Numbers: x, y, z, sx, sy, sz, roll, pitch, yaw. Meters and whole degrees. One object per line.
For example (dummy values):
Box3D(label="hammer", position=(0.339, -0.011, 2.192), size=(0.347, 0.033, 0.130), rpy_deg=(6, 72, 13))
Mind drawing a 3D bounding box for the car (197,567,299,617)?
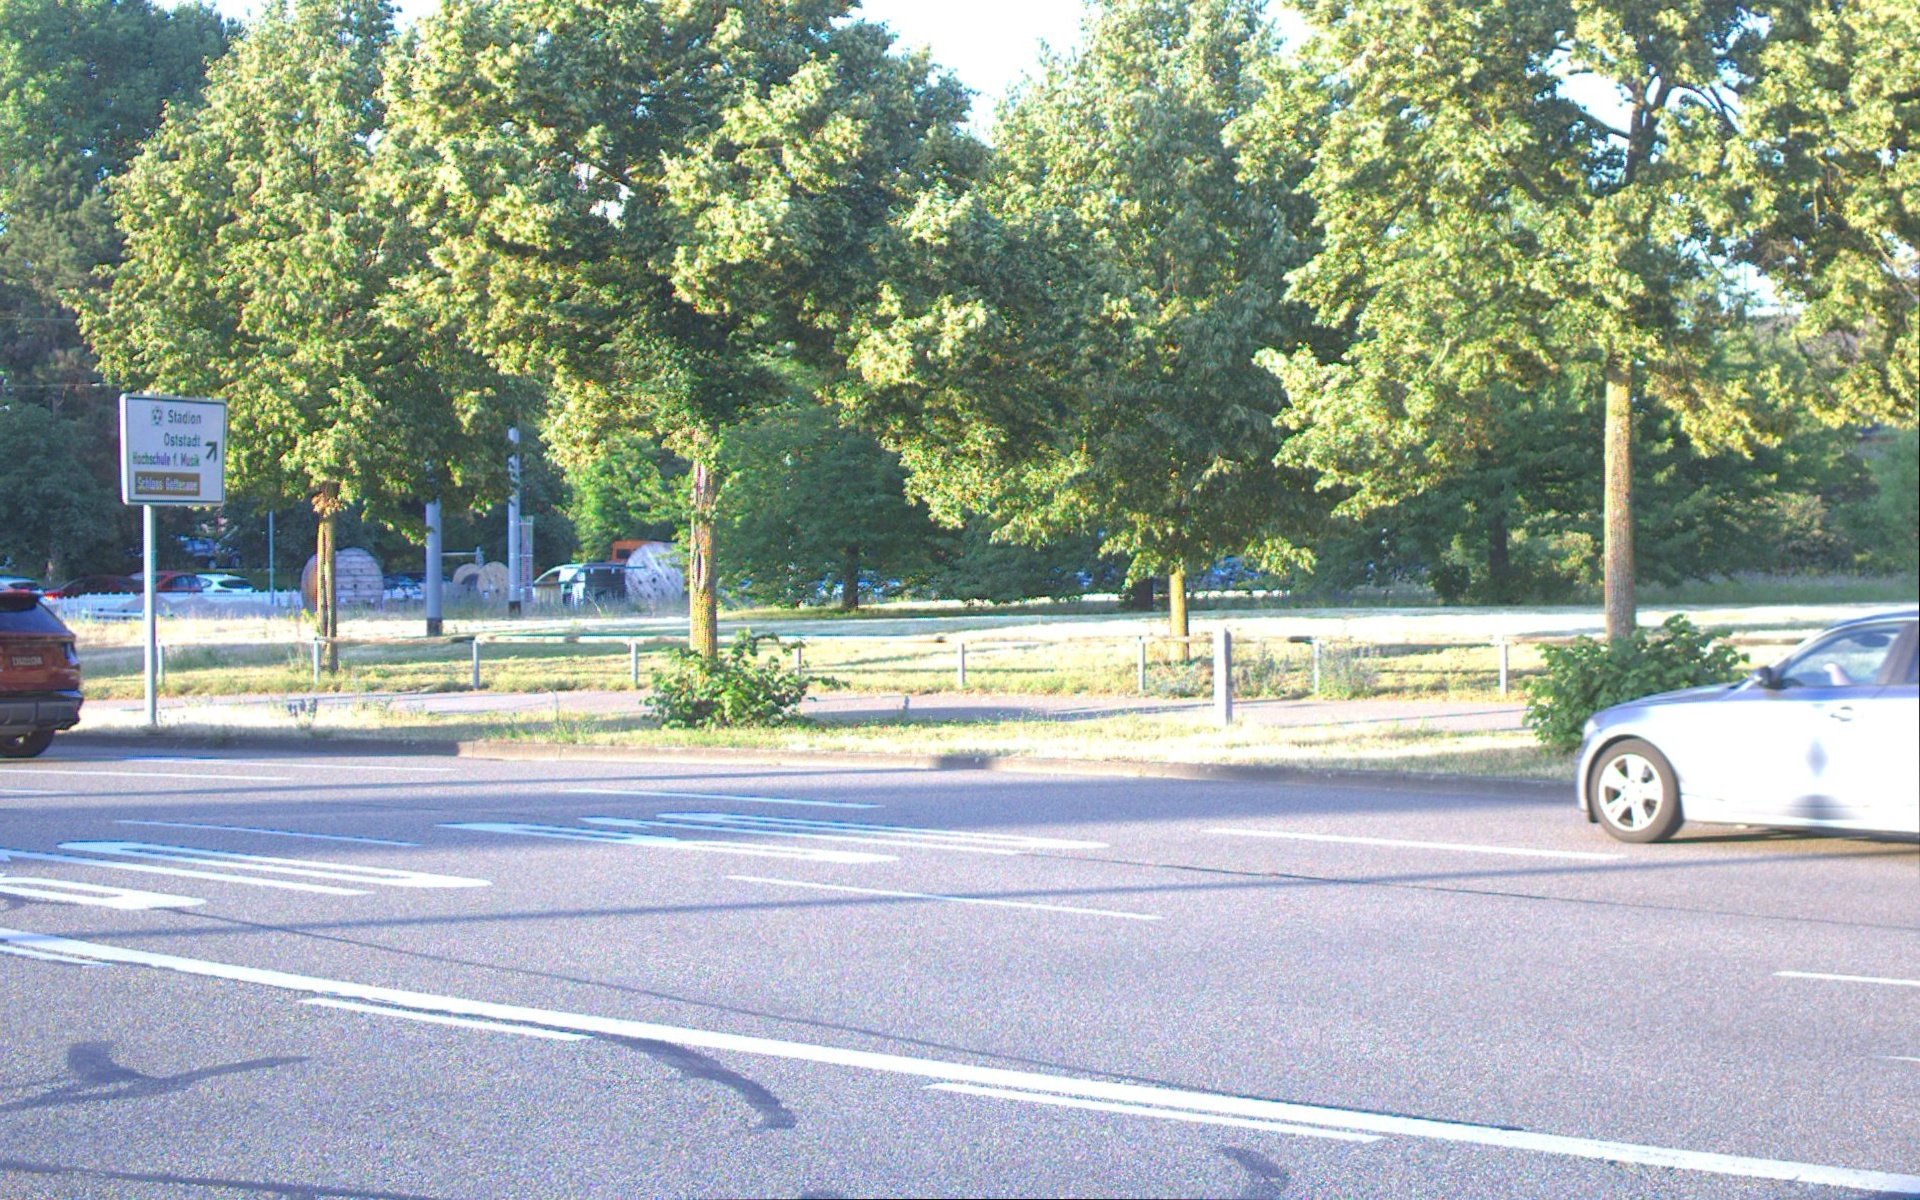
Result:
Box3D(label="car", position=(-26.809, -0.306, 129.304), size=(1.994, 1.746, 4.597), rpy_deg=(-1, 2, -37))

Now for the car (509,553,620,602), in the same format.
Box3D(label="car", position=(-13.220, -0.763, 114.882), size=(1.734, 1.612, 3.998), rpy_deg=(-1, 1, -41))

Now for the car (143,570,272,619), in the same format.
Box3D(label="car", position=(-25.362, -0.192, 115.825), size=(3.994, 1.598, 1.996), rpy_deg=(0, 1, 33))

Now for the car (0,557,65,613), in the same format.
Box3D(label="car", position=(-35.223, -0.537, 125.808), size=(4.582, 2.007, 2.001), rpy_deg=(-1, 1, -9))

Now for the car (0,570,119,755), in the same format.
Box3D(label="car", position=(-9.982, 0.533, 31.038), size=(4.408, 1.568, 1.997), rpy_deg=(0, 1, 28))

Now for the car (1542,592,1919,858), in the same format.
Box3D(label="car", position=(5.531, 0.674, 19.432), size=(1.863, 1.385, 4.161), rpy_deg=(-1, 1, -42))

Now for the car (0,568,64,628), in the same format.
Box3D(label="car", position=(-33.139, -0.080, 117.675), size=(4.582, 2.007, 2.001), rpy_deg=(-1, 1, -9))

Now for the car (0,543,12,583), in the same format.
Box3D(label="car", position=(-42.402, -1.561, 145.366), size=(3.988, 1.700, 2.000), rpy_deg=(0, 1, 7))

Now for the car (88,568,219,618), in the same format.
Box3D(label="car", position=(-26.766, -0.248, 114.095), size=(3.994, 1.598, 1.996), rpy_deg=(0, 1, 33))
